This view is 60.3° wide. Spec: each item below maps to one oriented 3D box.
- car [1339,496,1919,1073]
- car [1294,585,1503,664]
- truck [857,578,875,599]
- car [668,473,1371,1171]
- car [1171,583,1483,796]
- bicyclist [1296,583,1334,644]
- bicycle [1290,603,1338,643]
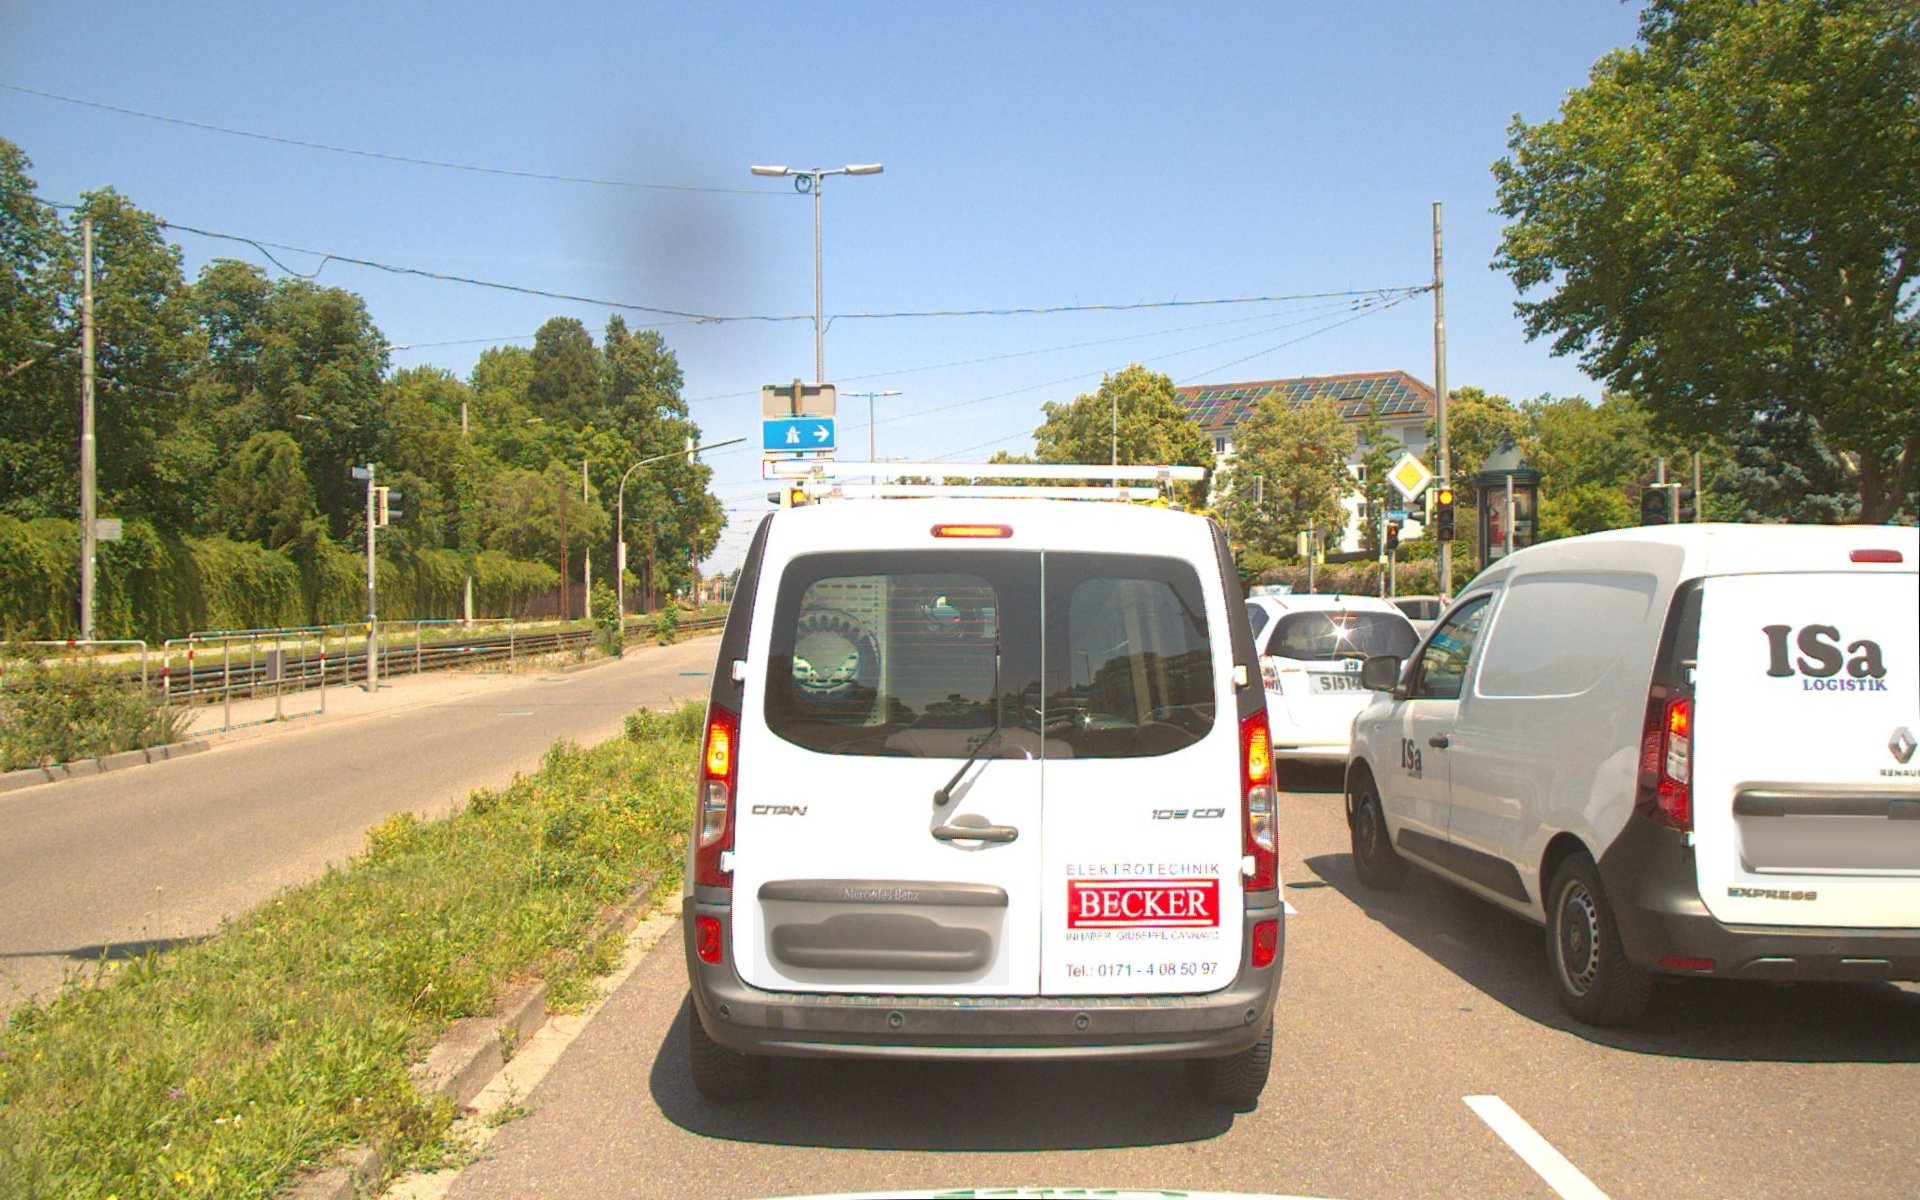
[{"bbox_3d":[3.048,0.595,7.297,1.693,1.819,4.063,1,0,-2],"label":"car"},{"bbox_3d":[9.034,0.493,34.097,3.909,1.546,1.751,0,-1,26],"label":"car"},{"bbox_3d":[-12.347,-1.475,218.271,2.095,2.633,5.888,1,0,-1],"label":"truck"},{"bbox_3d":[0.125,0.573,6.434,1.784,1.770,4.395,1,0,-1],"label":"car"},{"bbox_3d":[3.066,0.663,14.653,1.798,1.596,3.999,1,1,-1],"label":"car"},{"bbox_3d":[10.790,0.409,50.321,0.954,1.819,0.725,0,0,-6],"label":"bicyclist"},{"bbox_3d":[10.752,0.681,50.342,0.875,1.179,1.954,0,0,-6],"label":"bicycle"}]
